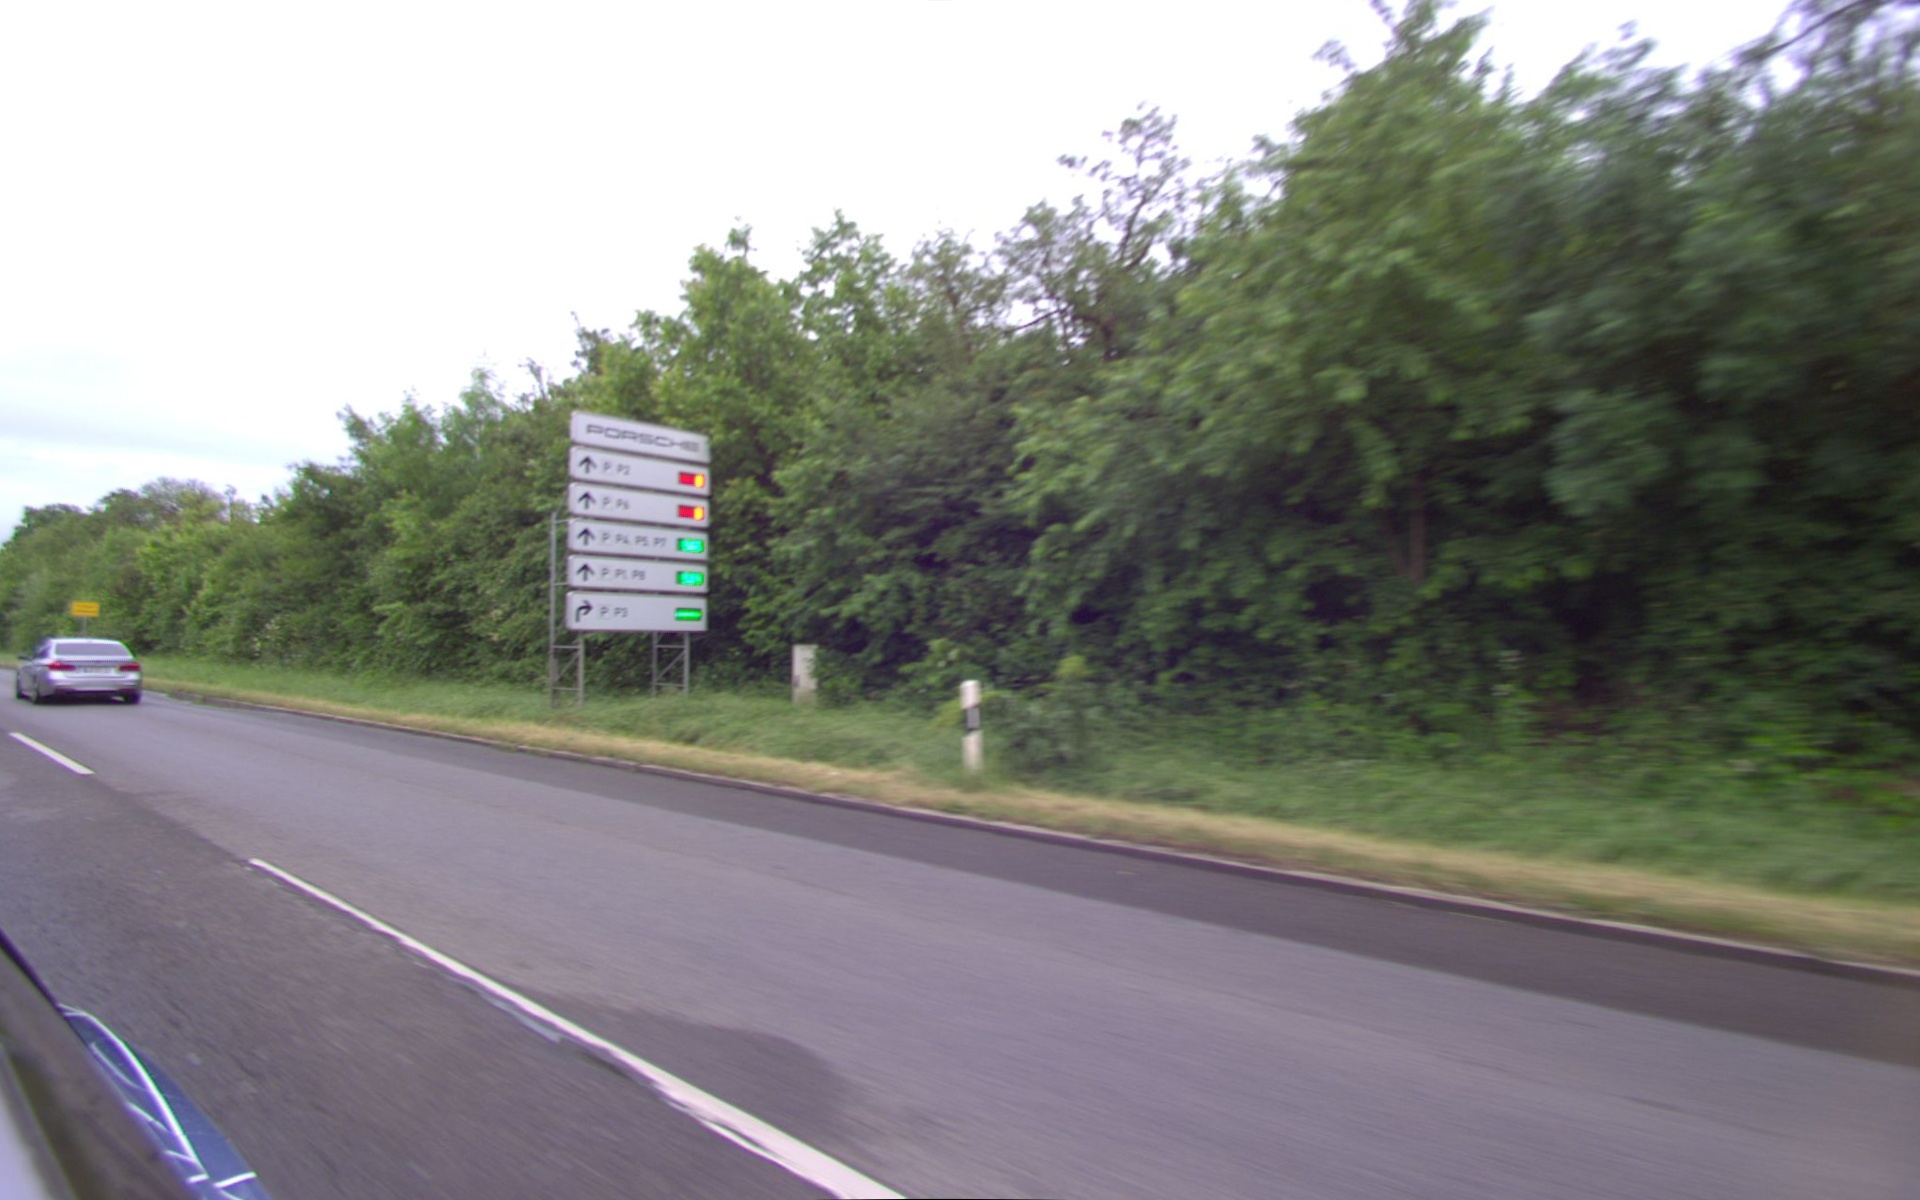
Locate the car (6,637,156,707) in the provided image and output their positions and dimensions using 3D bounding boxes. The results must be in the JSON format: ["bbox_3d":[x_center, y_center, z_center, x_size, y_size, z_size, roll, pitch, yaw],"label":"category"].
[{"bbox_3d":[-19.597,1.527,22.497,4.379,1.365,1.871,-2,-2,40],"label":"car"}]
